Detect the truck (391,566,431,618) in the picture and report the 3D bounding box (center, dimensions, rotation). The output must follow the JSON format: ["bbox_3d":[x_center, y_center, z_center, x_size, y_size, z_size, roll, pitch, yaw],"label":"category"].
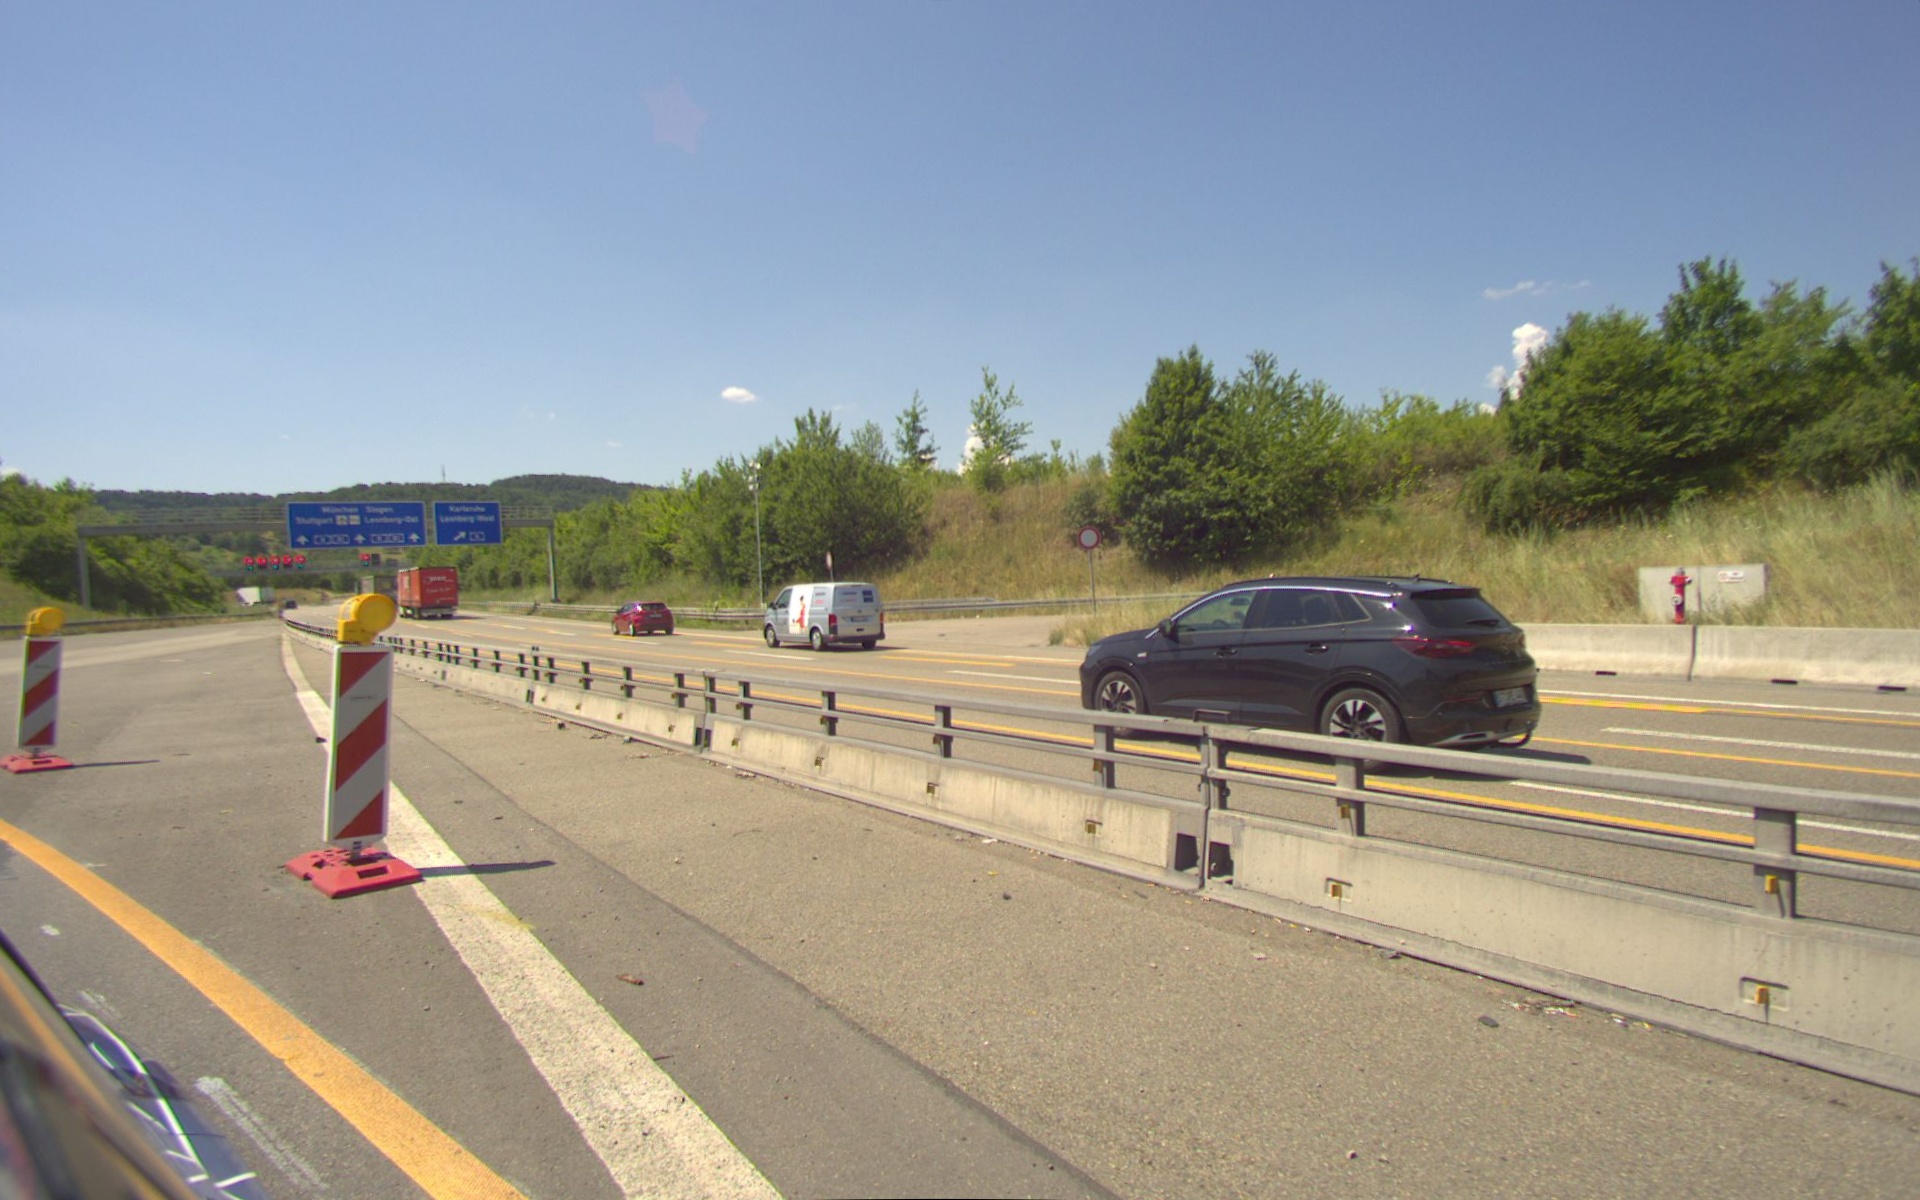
[{"bbox_3d":[-46.292,-0.692,85.296,2.303,4.138,5.030,-3,2,-35],"label":"truck"}]

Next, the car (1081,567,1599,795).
[{"bbox_3d":[3.203,0.575,9.358,1.720,1.605,4.238,-1,0,-36],"label":"car"}]

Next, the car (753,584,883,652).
[{"bbox_3d":[-4.272,0.481,29.830,1.665,1.848,4.798,0,0,-37],"label":"car"}]

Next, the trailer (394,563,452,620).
[{"bbox_3d":[-42.516,-0.662,79.845,2.307,4.132,13.295,-3,2,-35],"label":"trailer"}]

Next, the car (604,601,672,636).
[{"bbox_3d":[-13.694,0.749,42.965,1.665,1.405,4.010,0,0,-34],"label":"car"}]

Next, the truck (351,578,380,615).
[{"bbox_3d":[-71.441,-0.450,121.567,2.400,4.301,4.850,-3,2,-36],"label":"truck"}]

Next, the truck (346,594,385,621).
[{"bbox_3d":[-45.930,0.601,78.192,1.968,1.887,4.771,-3,1,-38],"label":"truck"}]

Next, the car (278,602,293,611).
[{"bbox_3d":[-111.725,1.090,167.624,1.694,1.502,3.695,-3,2,-39],"label":"car"}]

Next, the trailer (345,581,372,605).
[{"bbox_3d":[-119.112,-1.413,200.371,3.499,4.301,13.945,-4,3,-34],"label":"trailer"}]

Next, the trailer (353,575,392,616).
[{"bbox_3d":[-67.489,-0.477,116.113,2.404,4.328,13.842,-3,2,-36],"label":"trailer"}]
